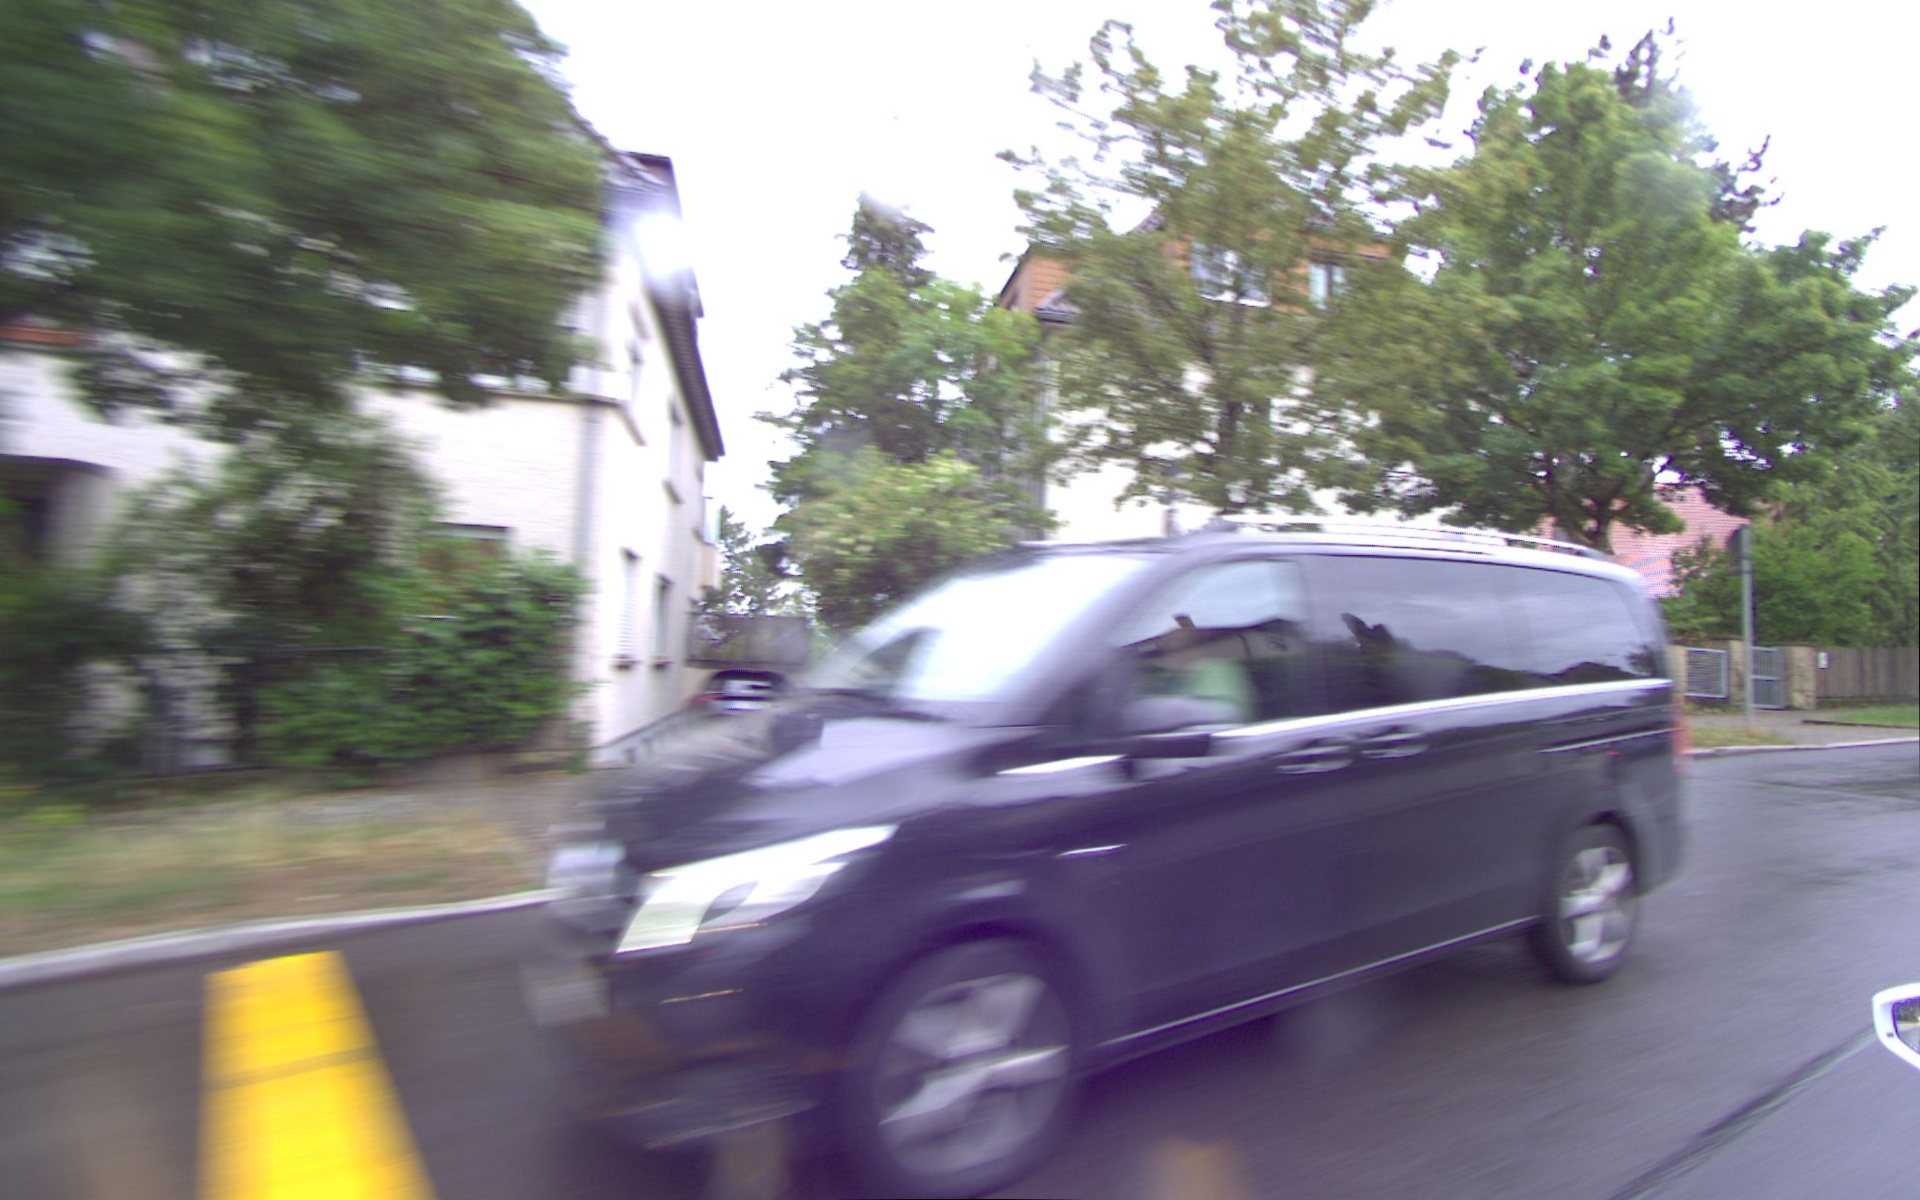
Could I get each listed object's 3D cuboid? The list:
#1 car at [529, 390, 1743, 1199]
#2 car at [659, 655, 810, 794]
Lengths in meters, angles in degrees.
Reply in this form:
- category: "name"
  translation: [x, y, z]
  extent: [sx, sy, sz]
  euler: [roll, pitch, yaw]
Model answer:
- category: "car"
  translation: [1.052, 0.602, 4.261]
  extent: [5.095, 1.914, 1.887]
  euler: [1, -3, -32]
- category: "car"
  translation: [-3.223, 1.990, 15.114]
  extent: [1.821, 1.602, 4.005]
  euler: [0, -14, -7]
